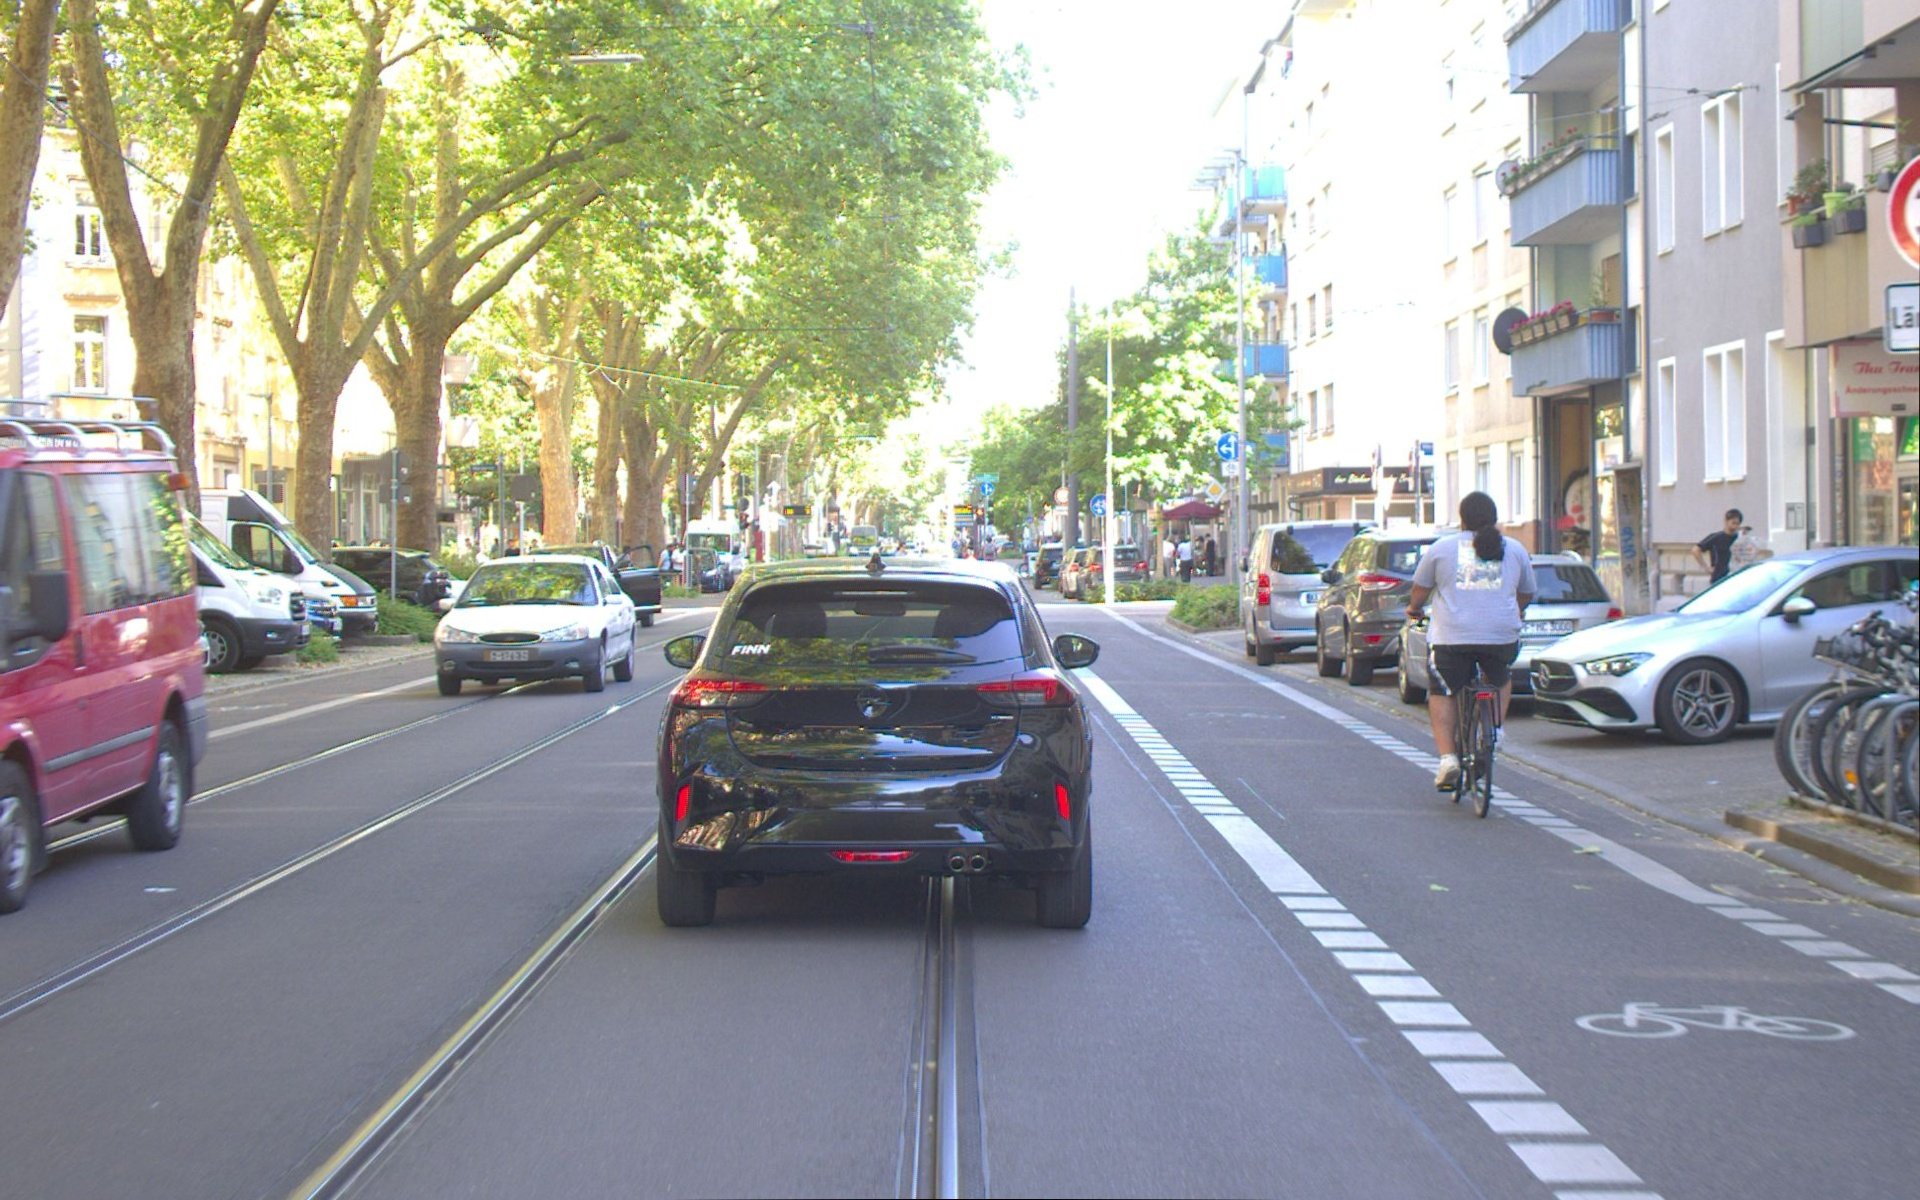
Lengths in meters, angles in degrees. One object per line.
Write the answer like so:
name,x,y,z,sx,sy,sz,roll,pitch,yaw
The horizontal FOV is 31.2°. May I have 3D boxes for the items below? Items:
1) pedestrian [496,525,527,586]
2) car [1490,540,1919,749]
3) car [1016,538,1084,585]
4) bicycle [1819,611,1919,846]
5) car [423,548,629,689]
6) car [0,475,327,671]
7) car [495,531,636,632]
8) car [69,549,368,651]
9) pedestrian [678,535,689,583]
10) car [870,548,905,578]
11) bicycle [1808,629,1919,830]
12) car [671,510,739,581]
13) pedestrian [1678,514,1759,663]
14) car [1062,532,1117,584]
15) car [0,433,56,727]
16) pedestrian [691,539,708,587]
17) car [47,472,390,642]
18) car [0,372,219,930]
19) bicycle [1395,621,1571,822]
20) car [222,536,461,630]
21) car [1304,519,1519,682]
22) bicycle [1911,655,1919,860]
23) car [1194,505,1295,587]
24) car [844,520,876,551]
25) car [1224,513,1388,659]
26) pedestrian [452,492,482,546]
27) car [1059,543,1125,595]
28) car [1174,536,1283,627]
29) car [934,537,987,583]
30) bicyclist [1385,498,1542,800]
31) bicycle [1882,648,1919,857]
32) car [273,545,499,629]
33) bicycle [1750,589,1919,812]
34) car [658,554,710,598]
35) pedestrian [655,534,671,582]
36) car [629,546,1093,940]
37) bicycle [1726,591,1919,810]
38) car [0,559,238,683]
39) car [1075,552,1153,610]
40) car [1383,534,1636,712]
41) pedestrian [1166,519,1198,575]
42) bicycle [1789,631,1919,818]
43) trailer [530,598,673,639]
pedestrian,-13.862,-1.368,106.301,0.905,1.862,0.644,-1,1,-5
car,6.670,0.292,26.820,4.612,1.432,1.865,-2,1,-11
car,3.163,-1.363,121.115,1.993,1.634,4.001,-1,1,-4
bicycle,5.393,0.617,17.563,1.793,1.144,0.704,-2,1,0
car,-4.483,0.147,36.056,1.718,1.354,4.470,-1,1,-2
car,-11.149,-0.357,44.865,5.360,2.469,2.057,-1,1,1
car,-7.125,-0.365,62.511,1.993,1.694,4.485,-2,1,0
car,-10.953,-0.011,50.967,4.019,1.461,1.872,0,1,1
pedestrian,-9.114,-1.361,113.319,0.346,1.577,0.508,-1,1,-2
car,-4.033,-2.061,190.982,1.750,1.646,4.000,-1,1,2
bicycle,5.400,0.659,18.236,1.652,1.017,0.457,-2,1,0
car,-9.529,-2.045,128.771,2.092,2.575,5.997,-1,1,0
pedestrian,8.875,-0.142,40.245,0.756,1.714,0.720,-1,1,-1
car,3.995,-1.323,106.410,1.651,1.568,3.083,-1,1,2
car,-11.132,-0.195,30.316,5.740,2.527,2.162,0,1,1
pedestrian,-8.551,-1.220,112.994,0.506,1.577,0.527,-1,1,0
car,-11.510,-0.678,53.649,4.943,2.559,2.083,-1,1,-3
car,-4.823,0.175,15.615,1.917,2.219,4.961,-1,1,-1
bicycle,3.076,0.689,20.381,0.701,1.088,1.990,1,0,-1
car,-11.153,-0.312,62.173,3.987,1.641,1.894,0,1,-1
car,4.988,-0.034,38.460,1.766,1.699,4.283,-1,1,-1
bicycle,5.412,0.726,16.280,1.652,0.983,0.457,-2,1,0
car,5.913,-1.129,71.803,1.858,1.646,4.000,-1,1,2
car,-7.150,-4.613,245.699,1.993,2.204,5.103,-1,1,-4
car,4.687,-0.231,47.163,1.858,1.883,4.924,-1,1,2
pedestrian,-14.999,-2.465,104.607,0.846,1.627,0.644,-1,1,-6
car,3.898,-0.934,102.172,1.718,1.485,3.682,-1,1,-2
car,5.070,-0.378,65.361,1.858,1.646,4.000,-1,1,2
car,0.043,-1.502,127.863,1.858,1.646,4.000,-1,1,2
bicyclist,2.981,0.278,20.414,0.786,1.753,0.915,0,1,0
bicycle,5.406,0.705,16.776,1.652,0.983,0.457,-2,1,0
car,-10.801,-0.258,64.856,3.987,1.516,1.771,0,1,-1
bicycle,5.407,0.538,19.231,1.823,1.187,0.457,-2,1,0
car,-9.810,-0.877,122.352,1.754,1.503,4.001,-1,1,-3
pedestrian,-9.744,-1.373,112.805,0.506,1.577,0.527,-1,1,-4
car,-0.380,0.501,14.435,1.679,1.417,3.628,1,1,-1
bicycle,5.414,0.555,19.724,1.892,1.187,0.457,-2,1,0
car,-10.821,0.232,40.033,4.409,1.380,1.933,0,1,0
car,4.284,-0.551,96.349,1.718,1.568,4.085,-1,1,-4
car,5.002,0.157,31.822,1.724,1.520,4.513,0,1,2
pedestrian,6.904,-1.654,106.972,0.769,1.742,0.794,0,1,24
bicycle,5.418,0.652,18.745,1.652,0.963,0.457,-2,1,0
trailer,-7.023,0.350,67.967,2.160,0.629,6.400,0,1,0
